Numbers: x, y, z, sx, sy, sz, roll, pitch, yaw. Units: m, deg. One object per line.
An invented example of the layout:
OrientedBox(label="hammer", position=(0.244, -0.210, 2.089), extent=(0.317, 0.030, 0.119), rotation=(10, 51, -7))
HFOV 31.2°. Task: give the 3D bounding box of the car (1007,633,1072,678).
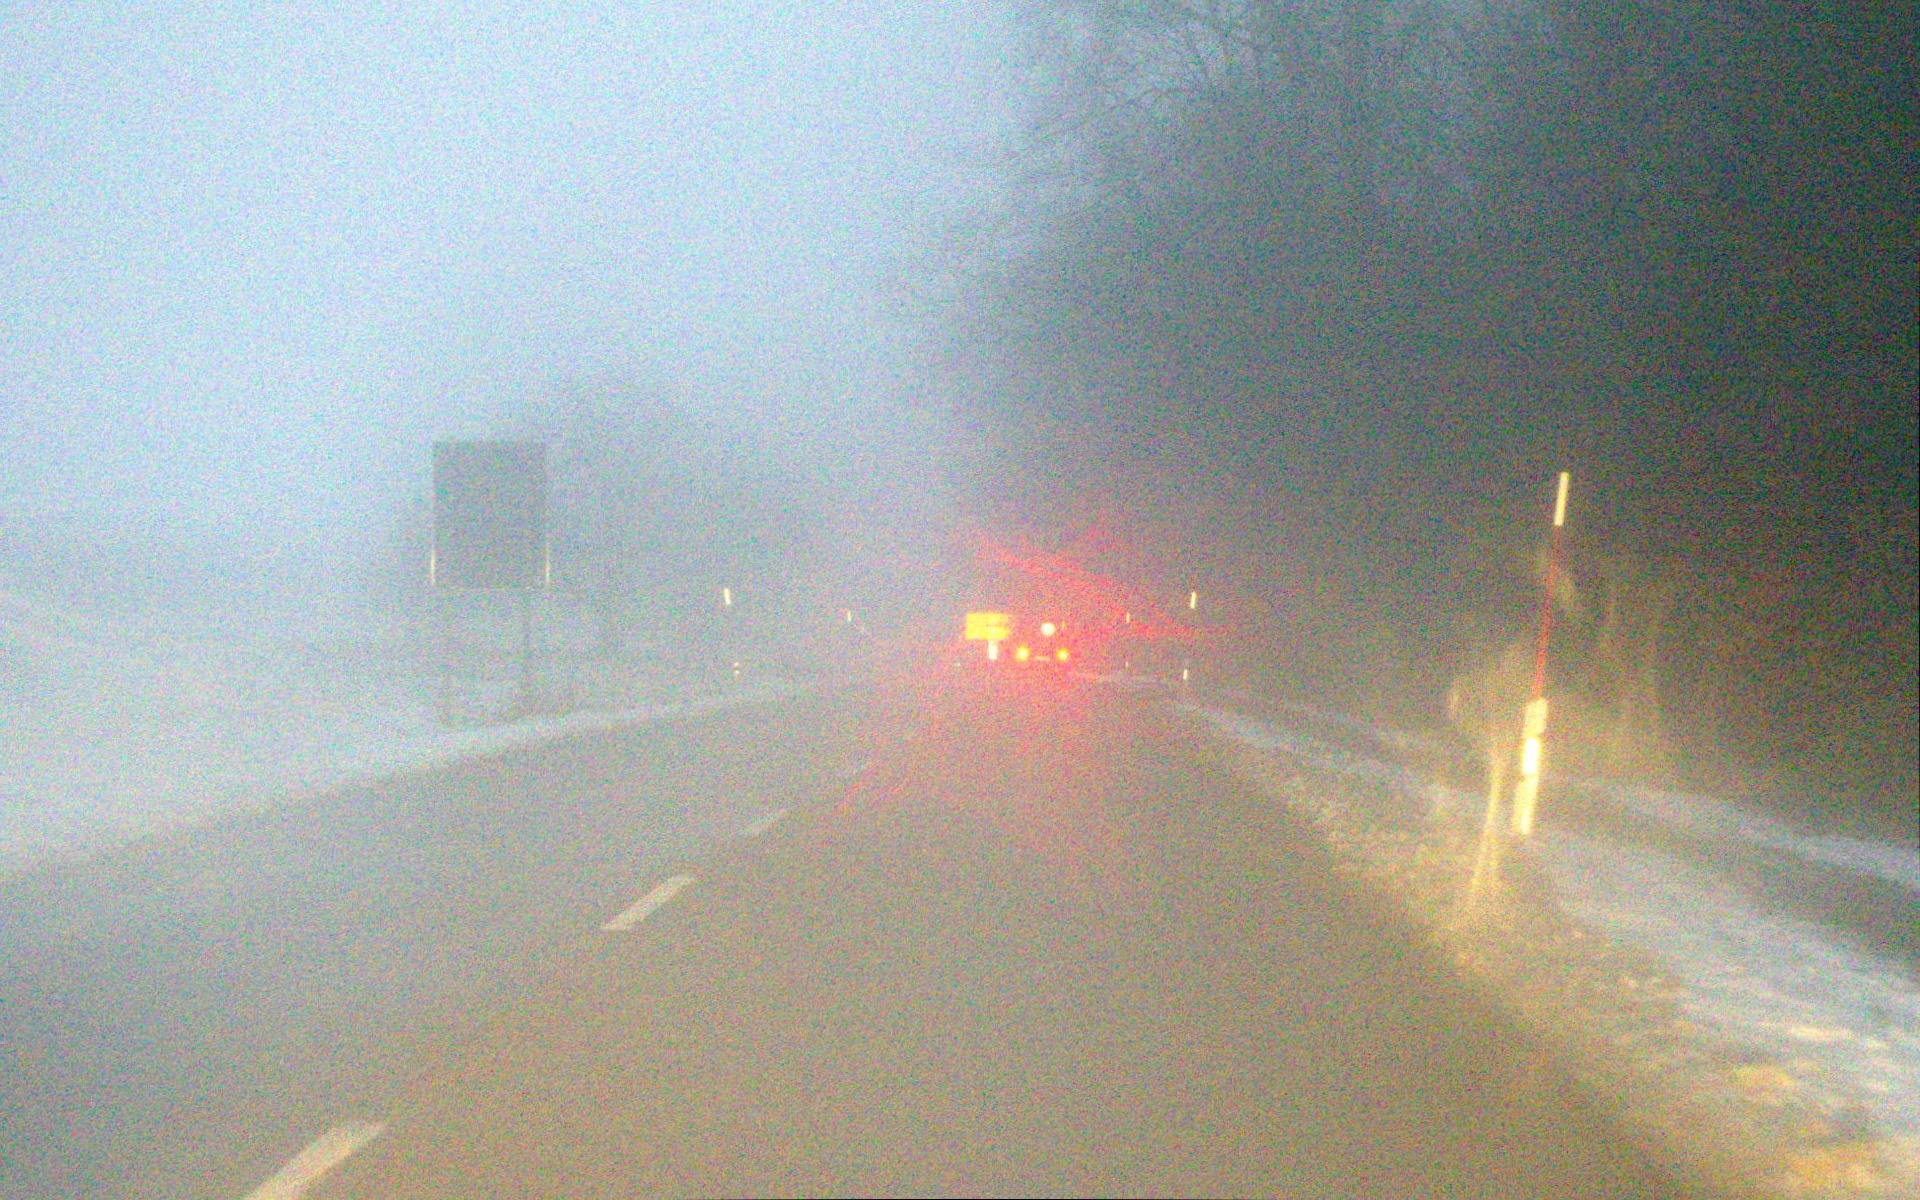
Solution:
OrientedBox(label="car", position=(2.566, 1.807, 111.475), extent=(1.993, 1.415, 4.000), rotation=(0, -2, 0))
